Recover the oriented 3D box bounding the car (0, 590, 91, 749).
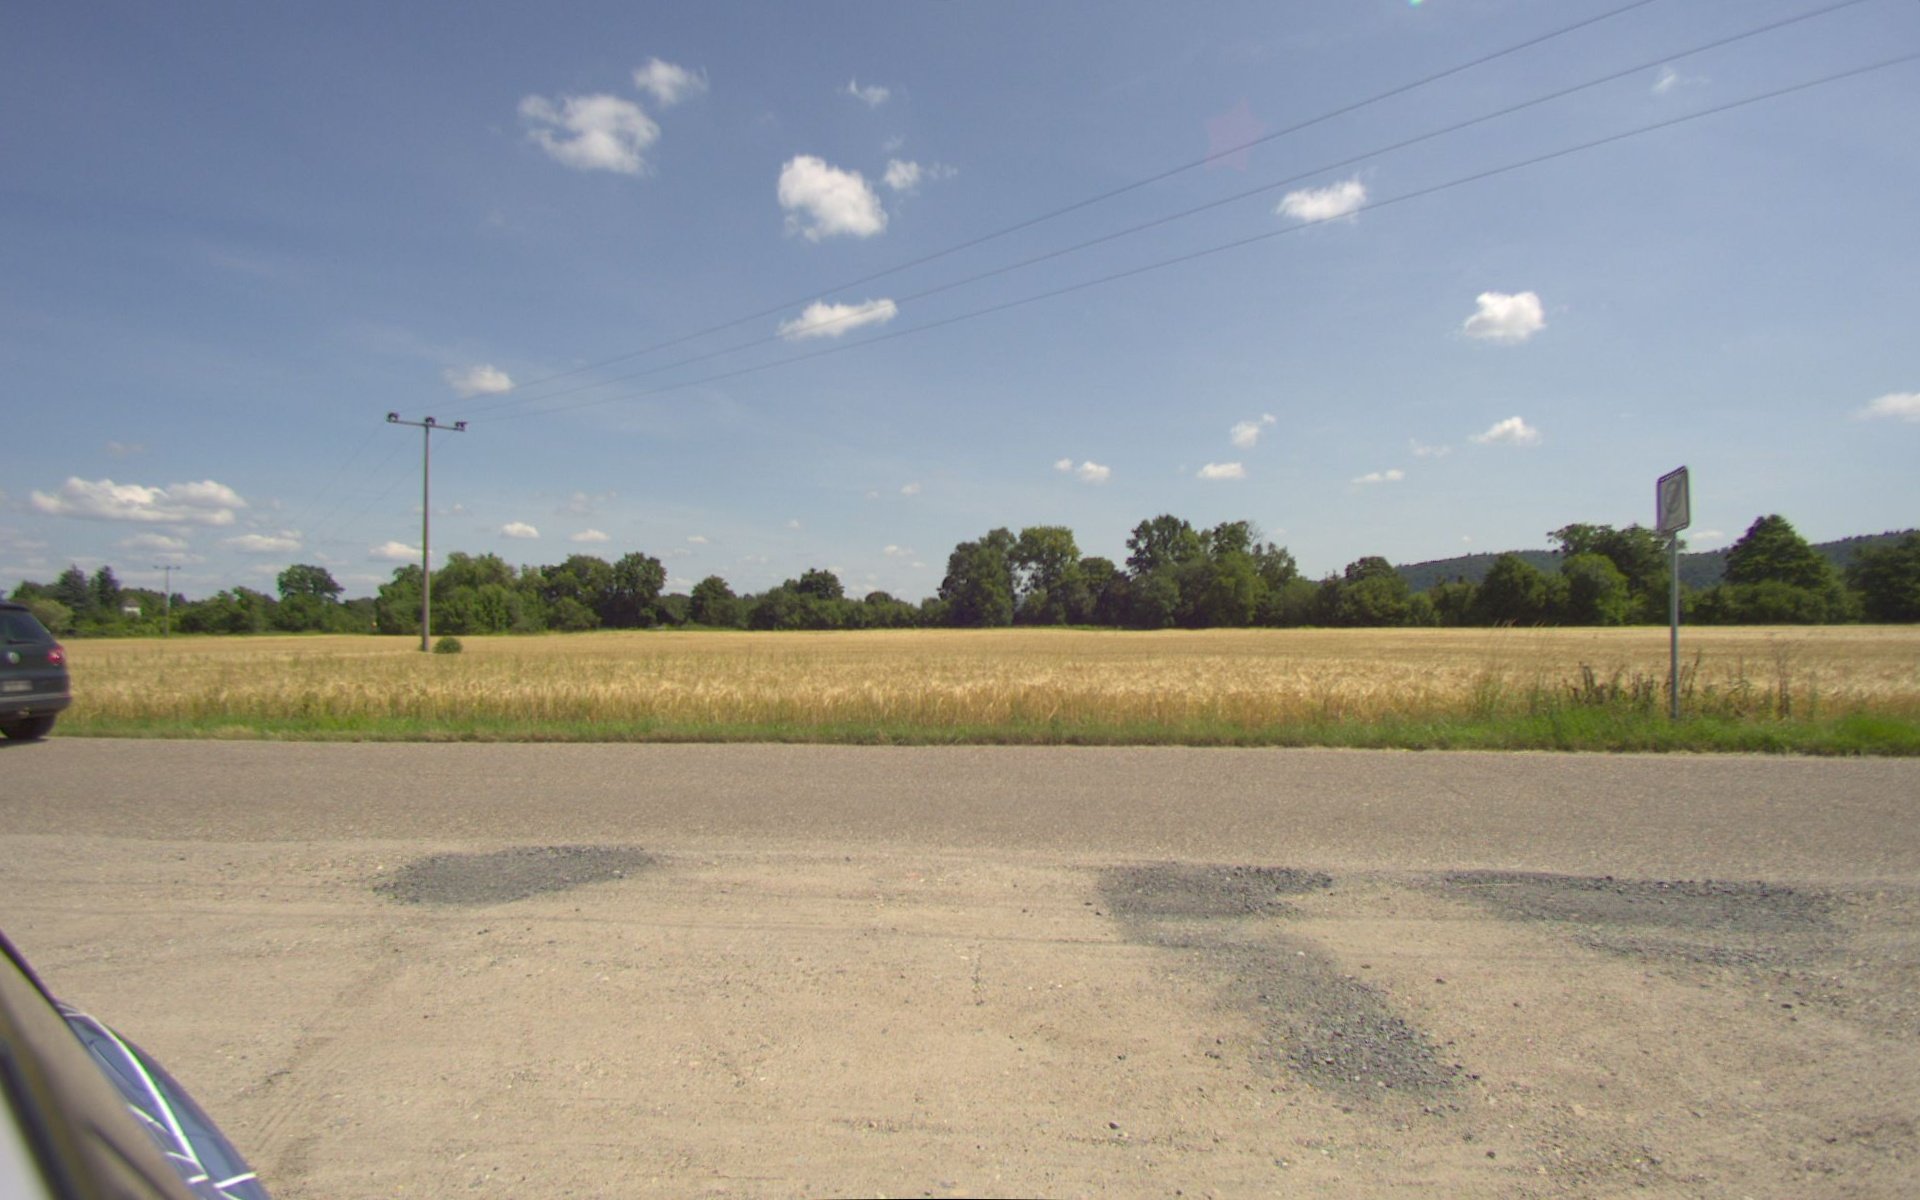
[{"bbox_3d":[-12.251,0.759,11.155,4.205,1.692,1.745,-1,-1,8],"label":"car"}]
